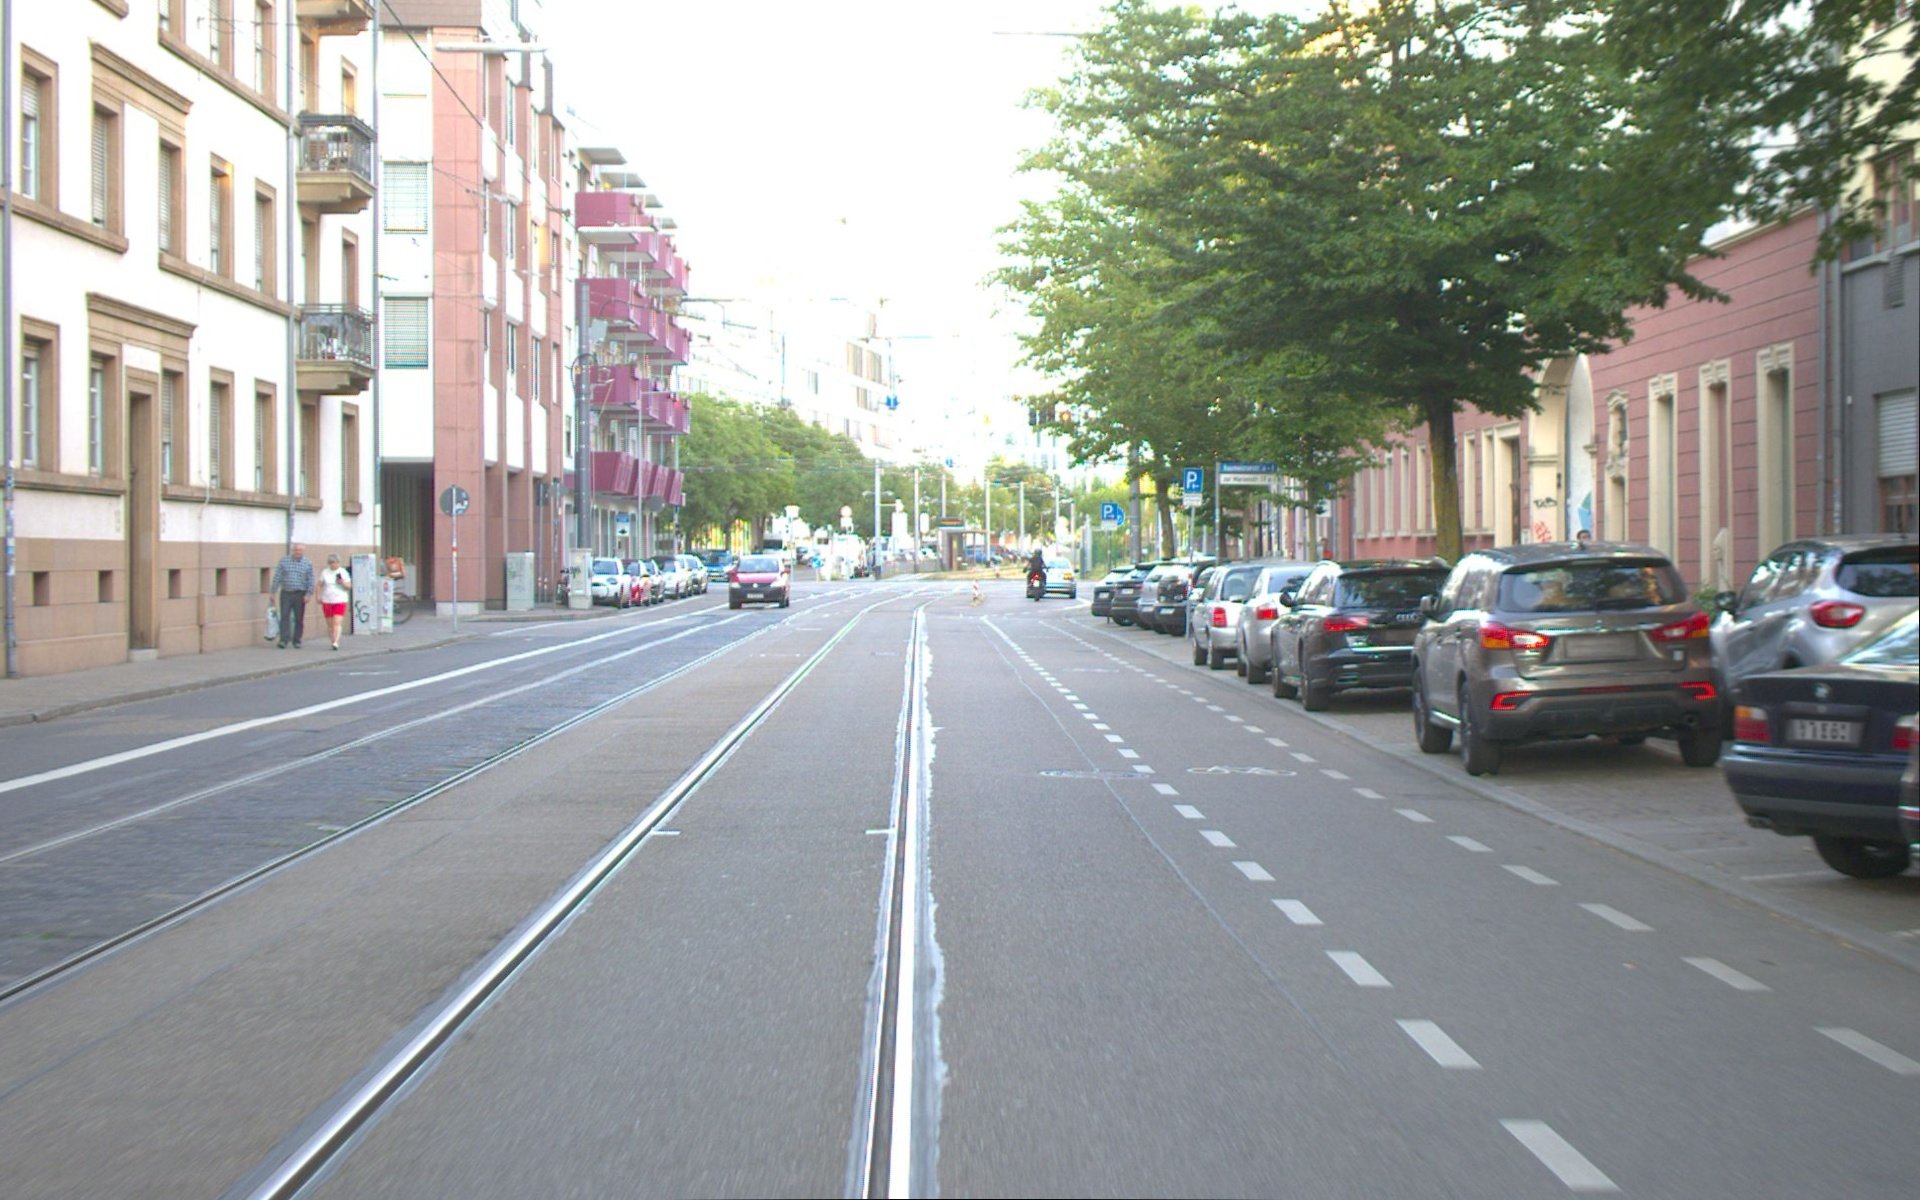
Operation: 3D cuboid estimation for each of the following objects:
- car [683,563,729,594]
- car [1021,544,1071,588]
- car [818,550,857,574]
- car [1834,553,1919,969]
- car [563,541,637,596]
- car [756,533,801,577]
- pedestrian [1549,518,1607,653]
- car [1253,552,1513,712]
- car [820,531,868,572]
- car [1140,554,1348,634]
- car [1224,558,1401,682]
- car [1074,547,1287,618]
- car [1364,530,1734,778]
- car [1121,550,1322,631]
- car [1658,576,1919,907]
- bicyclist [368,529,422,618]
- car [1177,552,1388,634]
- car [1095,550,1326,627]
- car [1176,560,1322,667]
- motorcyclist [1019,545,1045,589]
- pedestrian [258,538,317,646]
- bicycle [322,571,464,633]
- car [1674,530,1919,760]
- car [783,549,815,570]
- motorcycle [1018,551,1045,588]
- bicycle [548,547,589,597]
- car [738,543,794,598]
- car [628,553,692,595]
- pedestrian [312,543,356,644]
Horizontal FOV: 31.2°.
[{"bbox_3d":[-14.383,-1.237,195.024,1.683,1.694,4.238,0,1,8],"label":"car"},{"bbox_3d":[3.089,-1.229,123.846,1.717,1.550,4.204,1,1,1],"label":"car"},{"bbox_3d":[-7.286,-2.281,204.791,1.683,1.434,4.125,0,1,7],"label":"car"},{"bbox_3d":[5.574,0.573,13.247,3.960,1.548,1.720,-2,2,-18],"label":"car"},{"bbox_3d":[-10.655,-0.944,101.913,1.717,1.550,4.204,1,1,0],"label":"car"},{"bbox_3d":[-13.053,-3.239,247.581,2.202,3.141,6.141,0,1,7],"label":"car"},{"bbox_3d":[8.347,-0.198,46.443,0.680,1.810,0.600,0,1,0],"label":"pedestrian"},{"bbox_3d":[4.224,0.271,35.081,1.993,1.484,5.036,-1,1,0],"label":"car"},{"bbox_3d":[-7.078,-2.971,210.509,2.461,2.474,5.808,0,1,3],"label":"car"},{"bbox_3d":[5.400,-0.125,65.339,3.554,1.424,1.669,-2,1,-25],"label":"car"},{"bbox_3d":[4.278,0.206,42.308,1.780,1.376,4.691,-2,1,2],"label":"car"},{"bbox_3d":[5.084,-0.413,79.175,4.604,1.452,1.711,-2,1,-25],"label":"car"},{"bbox_3d":[4.270,0.337,25.588,1.879,1.612,4.262,-3,1,-1],"label":"car"},{"bbox_3d":[5.185,-0.197,68.109,3.554,1.511,1.744,-2,1,-25],"label":"car"},{"bbox_3d":[5.517,0.581,16.233,4.248,1.383,1.621,0,1,-26],"label":"car"},{"bbox_3d":[-12.921,-0.613,78.607,1.214,2.007,0.947,0,1,-9],"label":"bicyclist"},{"bbox_3d":[5.922,-0.128,63.246,3.481,1.424,1.621,-1,-1,-19],"label":"car"},{"bbox_3d":[5.330,-0.261,73.214,4.443,1.511,2.064,-2,1,-23],"label":"car"},{"bbox_3d":[3.986,0.157,47.843,1.619,1.376,3.776,-2,1,-1],"label":"car"},{"bbox_3d":[2.400,-1.105,114.889,0.828,1.468,1.207,0,1,3],"label":"motorcyclist"},{"bbox_3d":[-10.719,-0.133,54.825,0.795,1.696,0.981,0,1,-3],"label":"pedestrian"},{"bbox_3d":[-12.963,0.038,78.615,3.170,1.349,0.958,-1,1,-9],"label":"bicycle"},{"bbox_3d":[6.732,0.279,25.697,1.879,1.578,4.021,0,1,-1],"label":"car"},{"bbox_3d":[-11.995,-3.030,256.276,1.683,1.496,4.238,0,1,7],"label":"car"},{"bbox_3d":[2.397,-1.030,114.880,0.828,1.236,2.491,0,1,3],"label":"motorcycle"},{"bbox_3d":[-11.076,-0.799,97.321,0.609,1.373,2.258,0,1,7],"label":"bicycle"},{"bbox_3d":[-5.650,-0.874,100.409,1.559,1.553,3.755,-1,1,-3],"label":"car"},{"bbox_3d":[-10.625,-0.920,122.148,1.691,1.409,4.677,2,1,2],"label":"car"},{"bbox_3d":[-9.993,-0.110,54.892,0.590,1.604,0.811,0,1,-3],"label":"pedestrian"}]
